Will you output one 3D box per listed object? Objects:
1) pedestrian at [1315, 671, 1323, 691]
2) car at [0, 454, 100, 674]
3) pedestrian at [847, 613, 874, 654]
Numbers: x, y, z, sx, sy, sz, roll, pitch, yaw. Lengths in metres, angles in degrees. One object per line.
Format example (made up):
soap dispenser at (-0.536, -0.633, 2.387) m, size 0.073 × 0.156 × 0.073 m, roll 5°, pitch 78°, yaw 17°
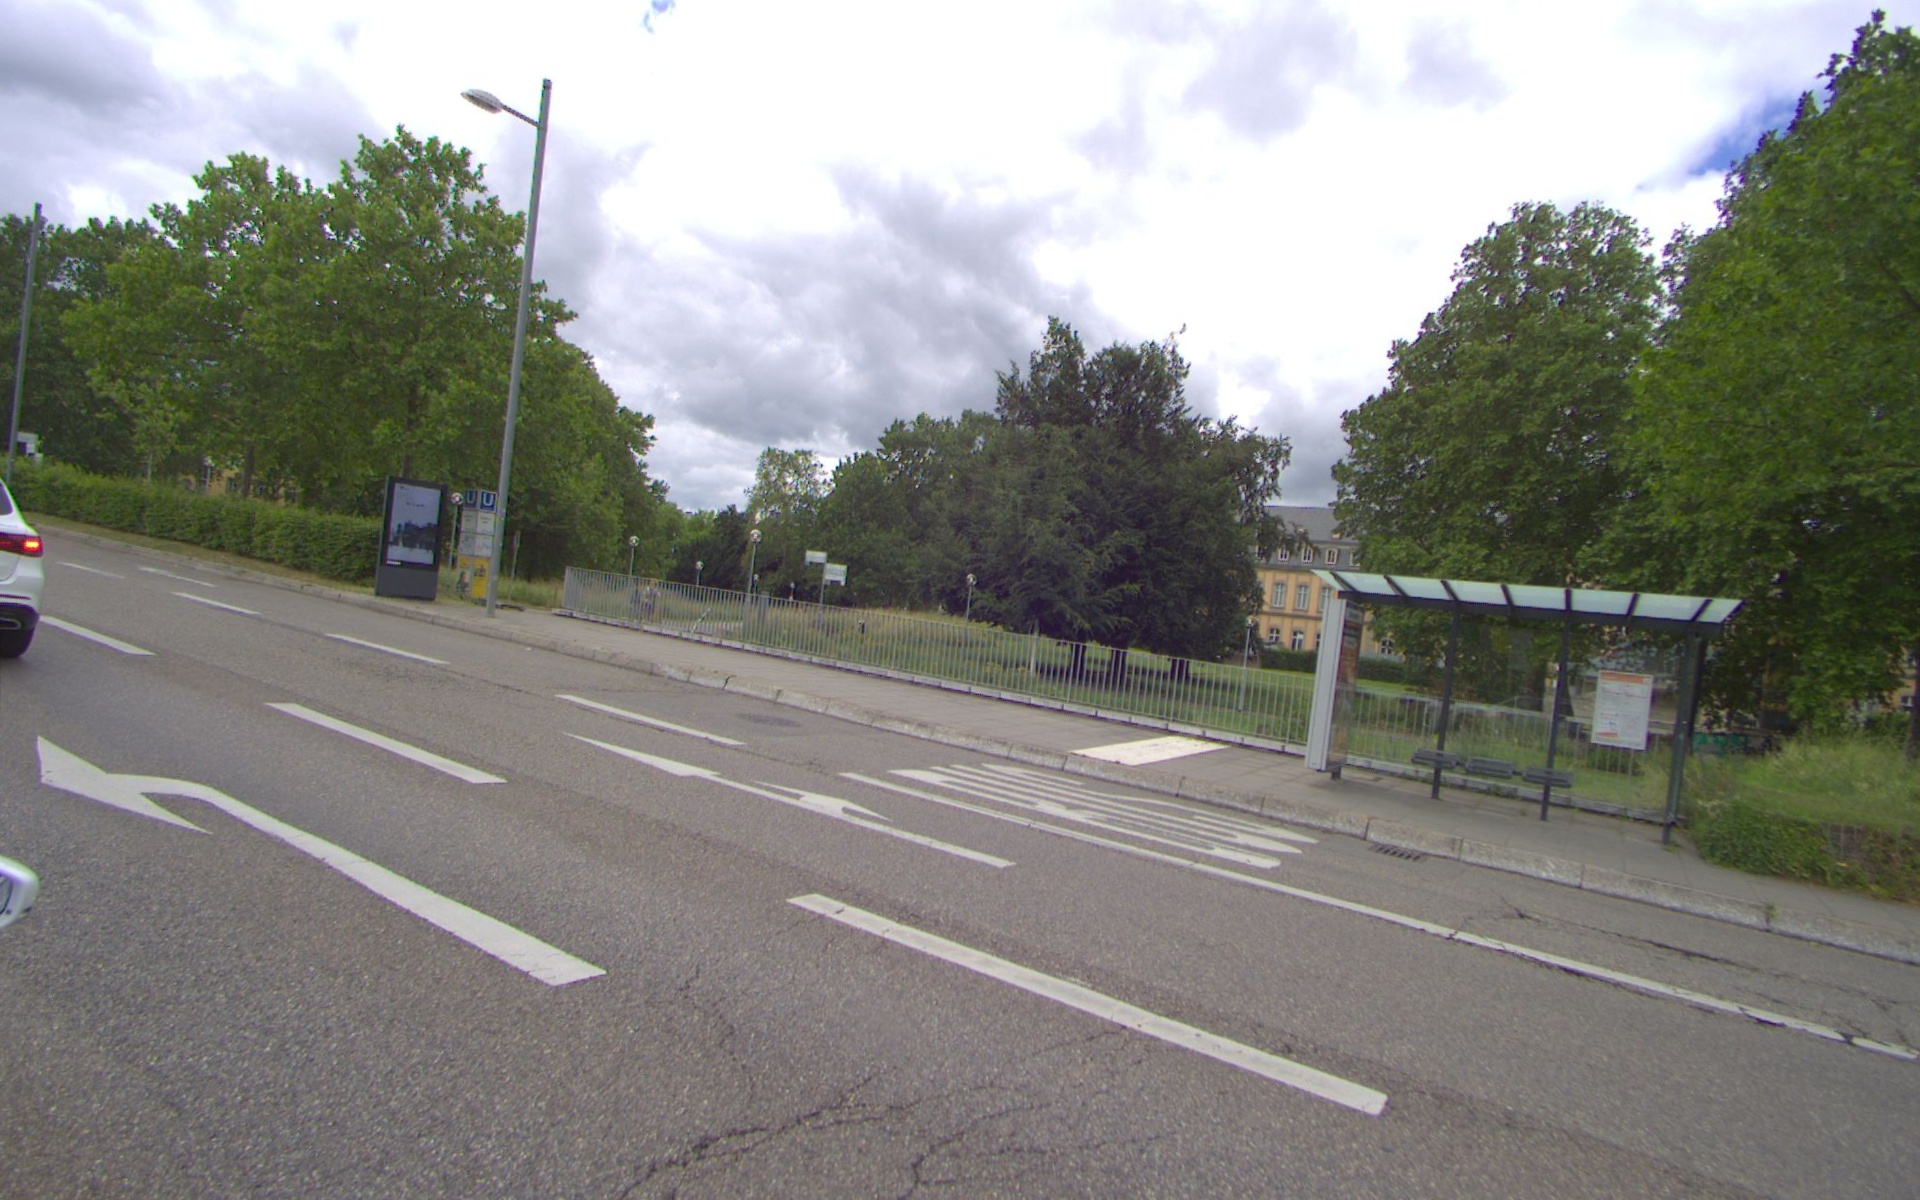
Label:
pedestrian at (32.807, 7.408, 91.932) m, size 0.460 × 1.725 × 0.405 m, roll 6°, pitch -2°, yaw 32°
car at (-9.433, -0.561, 8.566) m, size 4.416 × 1.673 × 1.929 m, roll 8°, pitch -1°, yaw 33°
pedestrian at (-4.202, 1.415, 42.500) m, size 0.654 × 1.619 × 0.675 m, roll 9°, pitch -2°, yaw -43°
